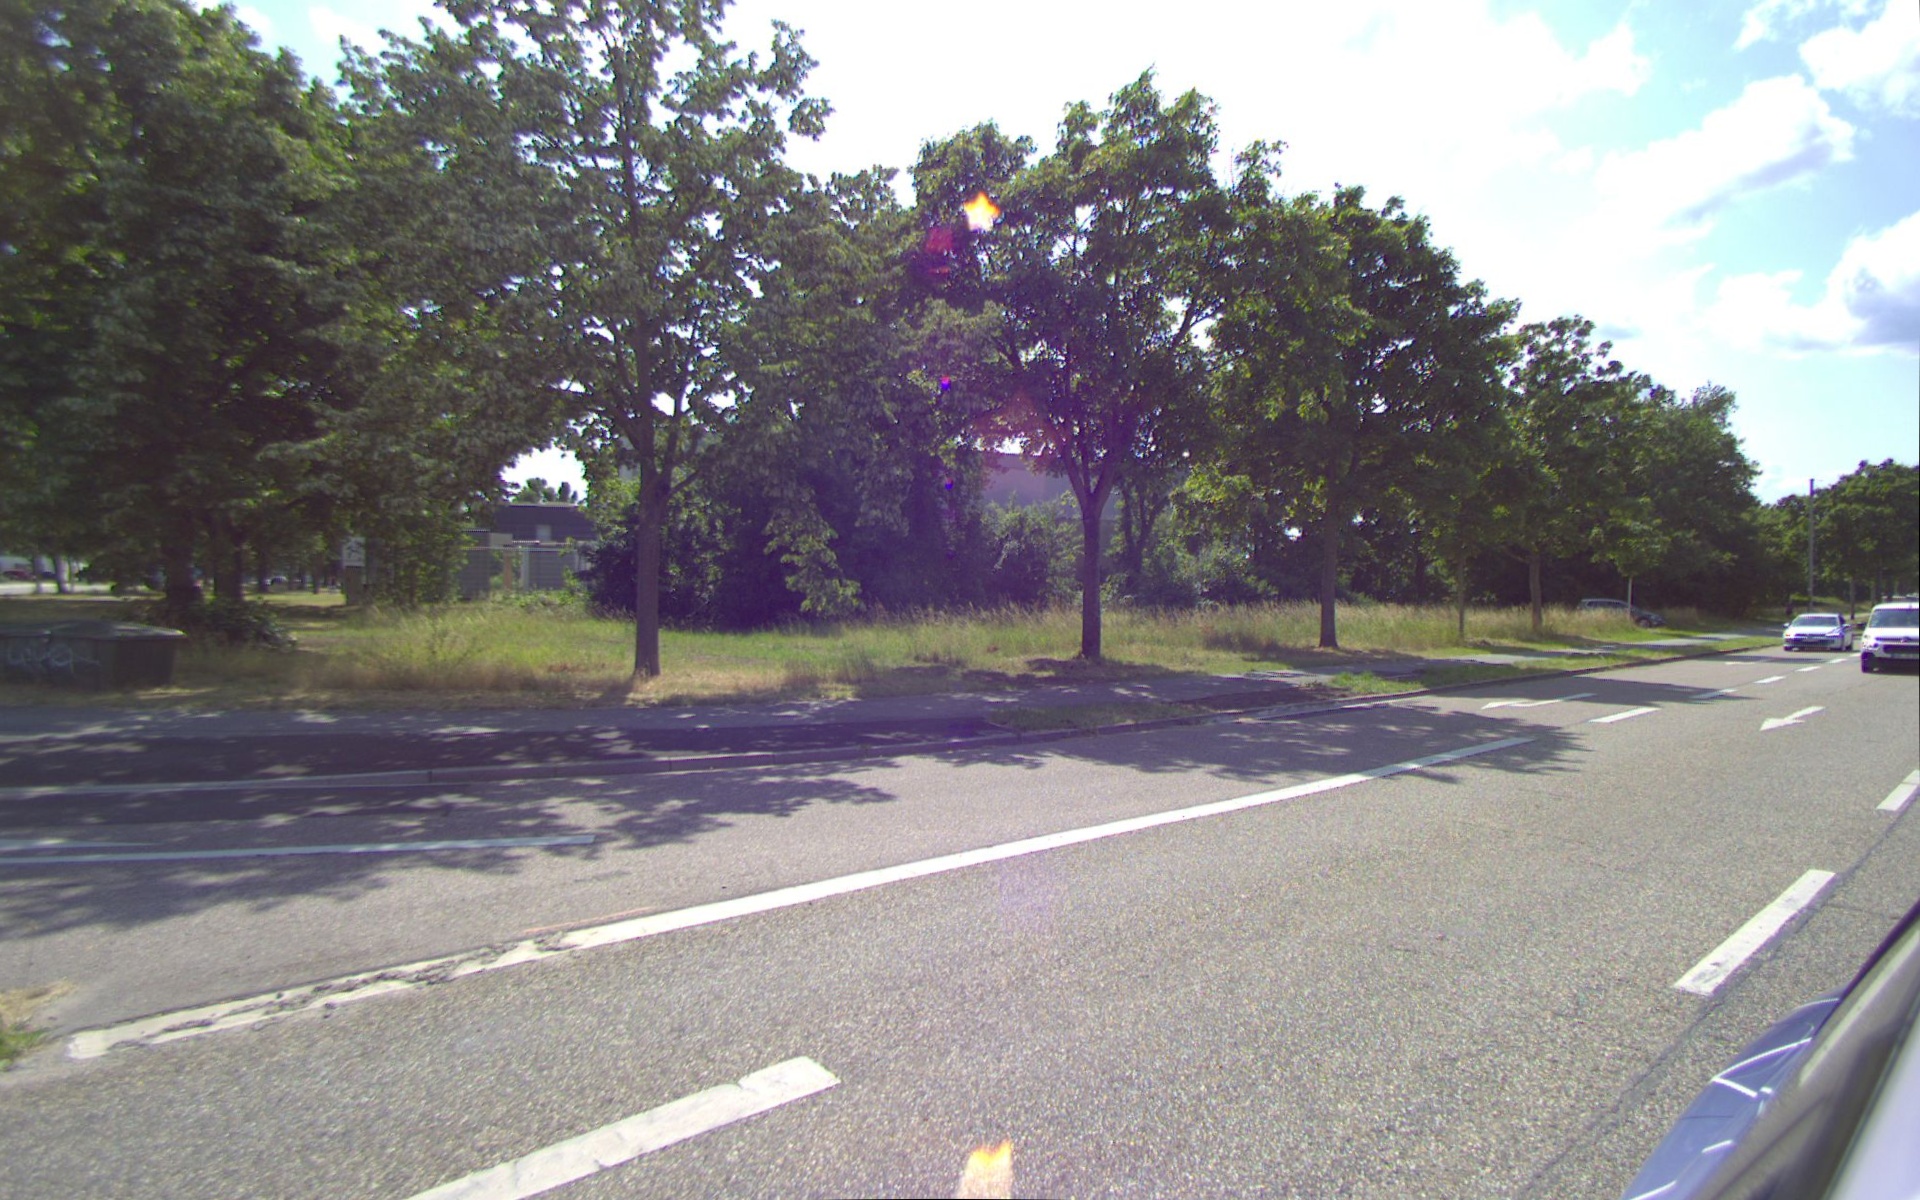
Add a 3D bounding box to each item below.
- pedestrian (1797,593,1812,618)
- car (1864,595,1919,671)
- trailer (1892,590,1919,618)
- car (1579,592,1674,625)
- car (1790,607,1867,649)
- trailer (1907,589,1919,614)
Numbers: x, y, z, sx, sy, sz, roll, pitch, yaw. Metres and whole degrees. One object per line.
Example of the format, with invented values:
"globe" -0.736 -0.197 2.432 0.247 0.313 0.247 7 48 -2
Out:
"pedestrian" 61.293 0.418 73.412 0.728 1.817 0.717 0 -1 -44
"car" 24.706 0.799 25.859 4.636 1.808 1.932 0 -2 -43
"trailer" 83.492 0.340 89.124 1.953 2.380 4.532 2 2 44
"car" 37.300 0.462 56.695 4.163 1.511 1.756 5 1 43
"car" 33.924 1.054 39.483 4.021 1.505 1.735 1 0 -41
"trailer" 98.289 0.185 103.283 4.703 2.393 1.997 -1 5 -44
